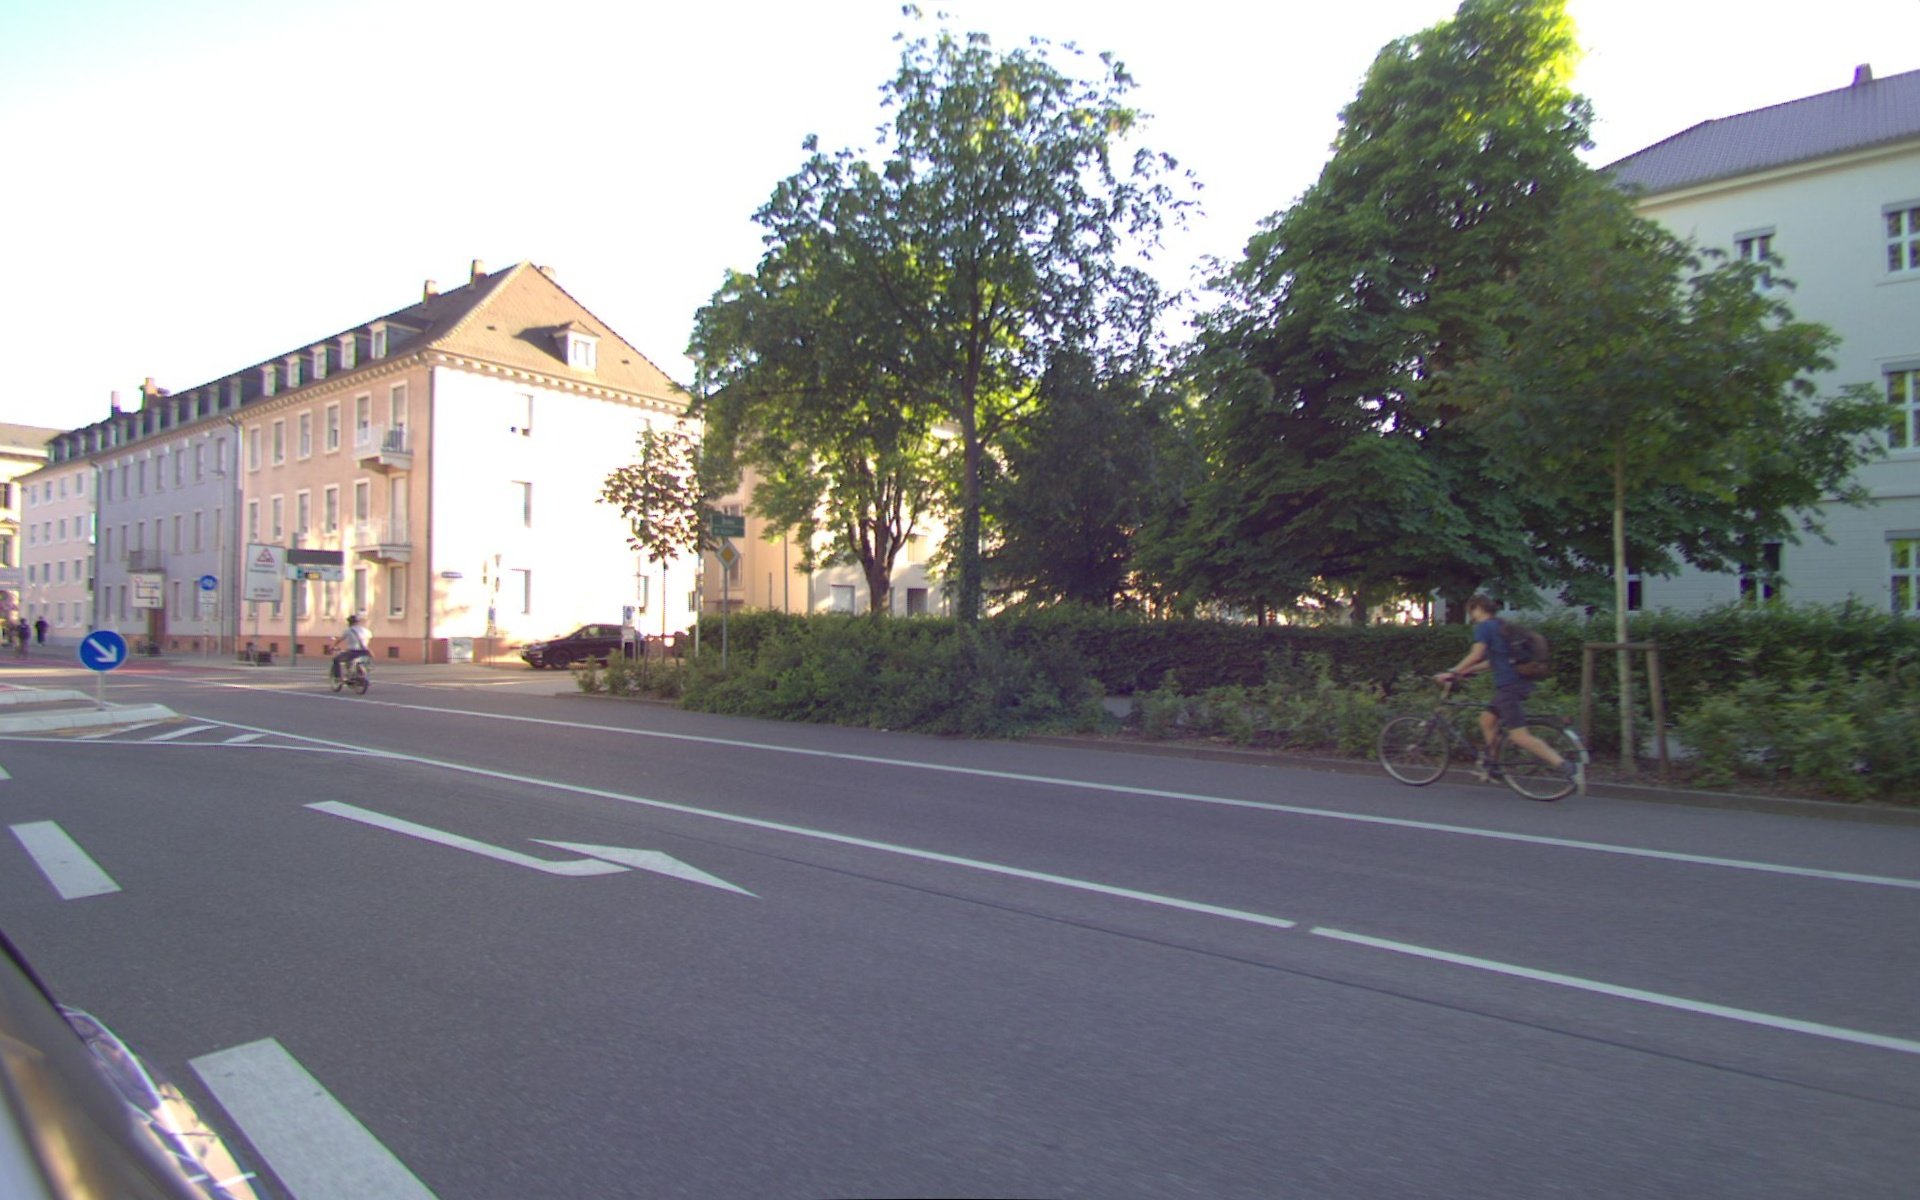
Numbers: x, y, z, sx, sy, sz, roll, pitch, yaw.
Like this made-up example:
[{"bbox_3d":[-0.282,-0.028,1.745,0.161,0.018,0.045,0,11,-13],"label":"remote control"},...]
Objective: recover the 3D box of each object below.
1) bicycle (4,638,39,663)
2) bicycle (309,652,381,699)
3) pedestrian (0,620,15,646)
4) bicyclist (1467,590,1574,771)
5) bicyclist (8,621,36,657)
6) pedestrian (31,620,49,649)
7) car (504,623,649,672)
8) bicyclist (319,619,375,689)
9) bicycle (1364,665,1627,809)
[{"bbox_3d":[-39.203,2.104,42.264,2.105,1.003,0.645,-1,-4,37],"label":"bicycle"},{"bbox_3d":[-13.000,1.569,21.363,2.177,0.928,0.610,-2,-3,40],"label":"bicycle"},{"bbox_3d":[-60.293,2.083,63.984,0.816,1.595,0.626,-1,0,34],"label":"pedestrian"},{"bbox_3d":[5.017,0.710,9.068,0.724,1.534,0.623,-2,-6,40],"label":"bicyclist"},{"bbox_3d":[-39.152,1.633,42.256,0.664,1.497,0.650,-2,-6,36],"label":"bicyclist"},{"bbox_3d":[-59.178,2.229,65.115,1.010,1.860,0.626,-1,0,34],"label":"pedestrian"},{"bbox_3d":[-14.040,1.747,37.215,2.060,1.691,4.525,-2,-3,42],"label":"car"},{"bbox_3d":[-12.946,1.137,21.367,0.970,1.429,0.639,-2,-6,40],"label":"bicyclist"},{"bbox_3d":[4.800,1.188,9.182,2.025,1.129,0.591,-2,-6,40],"label":"bicycle"}]
